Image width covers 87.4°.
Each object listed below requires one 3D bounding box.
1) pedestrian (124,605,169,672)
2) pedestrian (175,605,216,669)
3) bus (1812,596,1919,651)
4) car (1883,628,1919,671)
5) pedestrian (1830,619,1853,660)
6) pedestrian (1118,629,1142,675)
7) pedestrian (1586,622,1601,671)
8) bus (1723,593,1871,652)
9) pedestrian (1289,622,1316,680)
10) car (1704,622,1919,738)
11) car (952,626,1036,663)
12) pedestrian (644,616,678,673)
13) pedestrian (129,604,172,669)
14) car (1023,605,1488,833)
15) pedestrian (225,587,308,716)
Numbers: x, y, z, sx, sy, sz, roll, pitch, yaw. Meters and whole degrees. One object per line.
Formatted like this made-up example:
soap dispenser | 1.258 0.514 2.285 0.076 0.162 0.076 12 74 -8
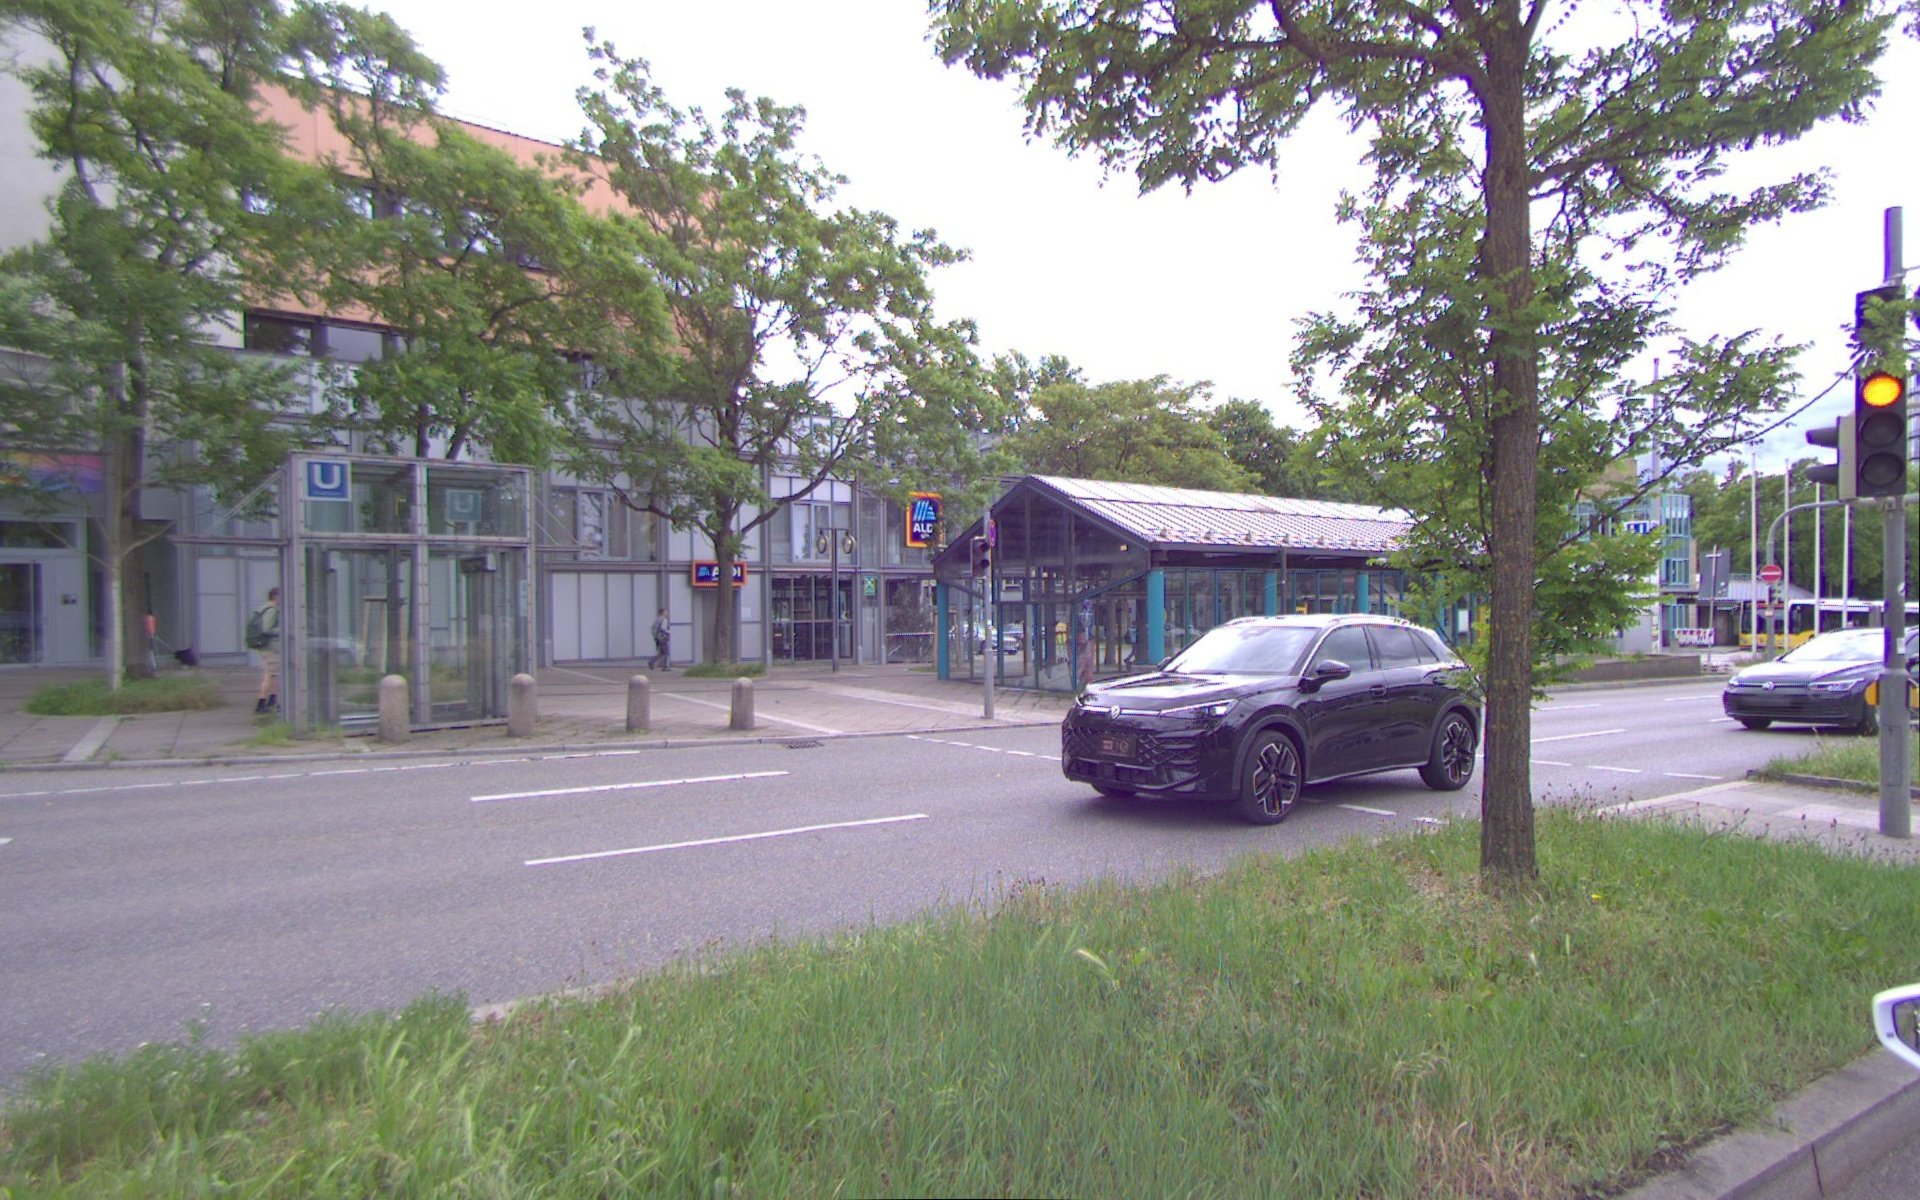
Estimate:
pedestrian | -17.338 0.815 21.420 0.689 1.393 0.578 1 -1 -37
pedestrian | -17.039 0.828 22.386 0.689 1.393 0.578 1 -1 -37
bus | 57.928 1.541 63.768 7.771 3.313 2.980 1 -1 -26
car | 37.556 1.913 39.167 3.316 1.599 1.673 1 -1 -36
pedestrian | 42.089 1.889 47.978 0.678 1.922 0.658 1 -1 -30
pedestrian | 6.283 1.906 37.037 0.703 1.677 0.517 1 -1 -37
pedestrian | 20.976 1.527 33.259 0.412 1.612 0.356 0 -1 31
bus | 49.931 1.380 59.828 10.036 3.293 2.980 1 -1 -26
pedestrian | 10.702 1.593 31.345 0.523 1.786 0.751 0 -1 44
car | 13.079 1.064 14.360 4.217 1.500 1.709 0 -1 -16
car | 1.658 2.193 50.381 1.769 1.710 4.838 1 -1 -33
pedestrian | -8.007 1.177 26.889 0.748 1.499 0.525 1 -1 -36
pedestrian | -17.736 0.805 22.020 0.689 1.393 0.578 1 -1 -37
car | 2.672 0.891 8.746 4.033 1.541 1.822 1 -4 -37
pedestrian | -10.399 0.759 15.068 0.530 1.857 0.916 0 -1 44
